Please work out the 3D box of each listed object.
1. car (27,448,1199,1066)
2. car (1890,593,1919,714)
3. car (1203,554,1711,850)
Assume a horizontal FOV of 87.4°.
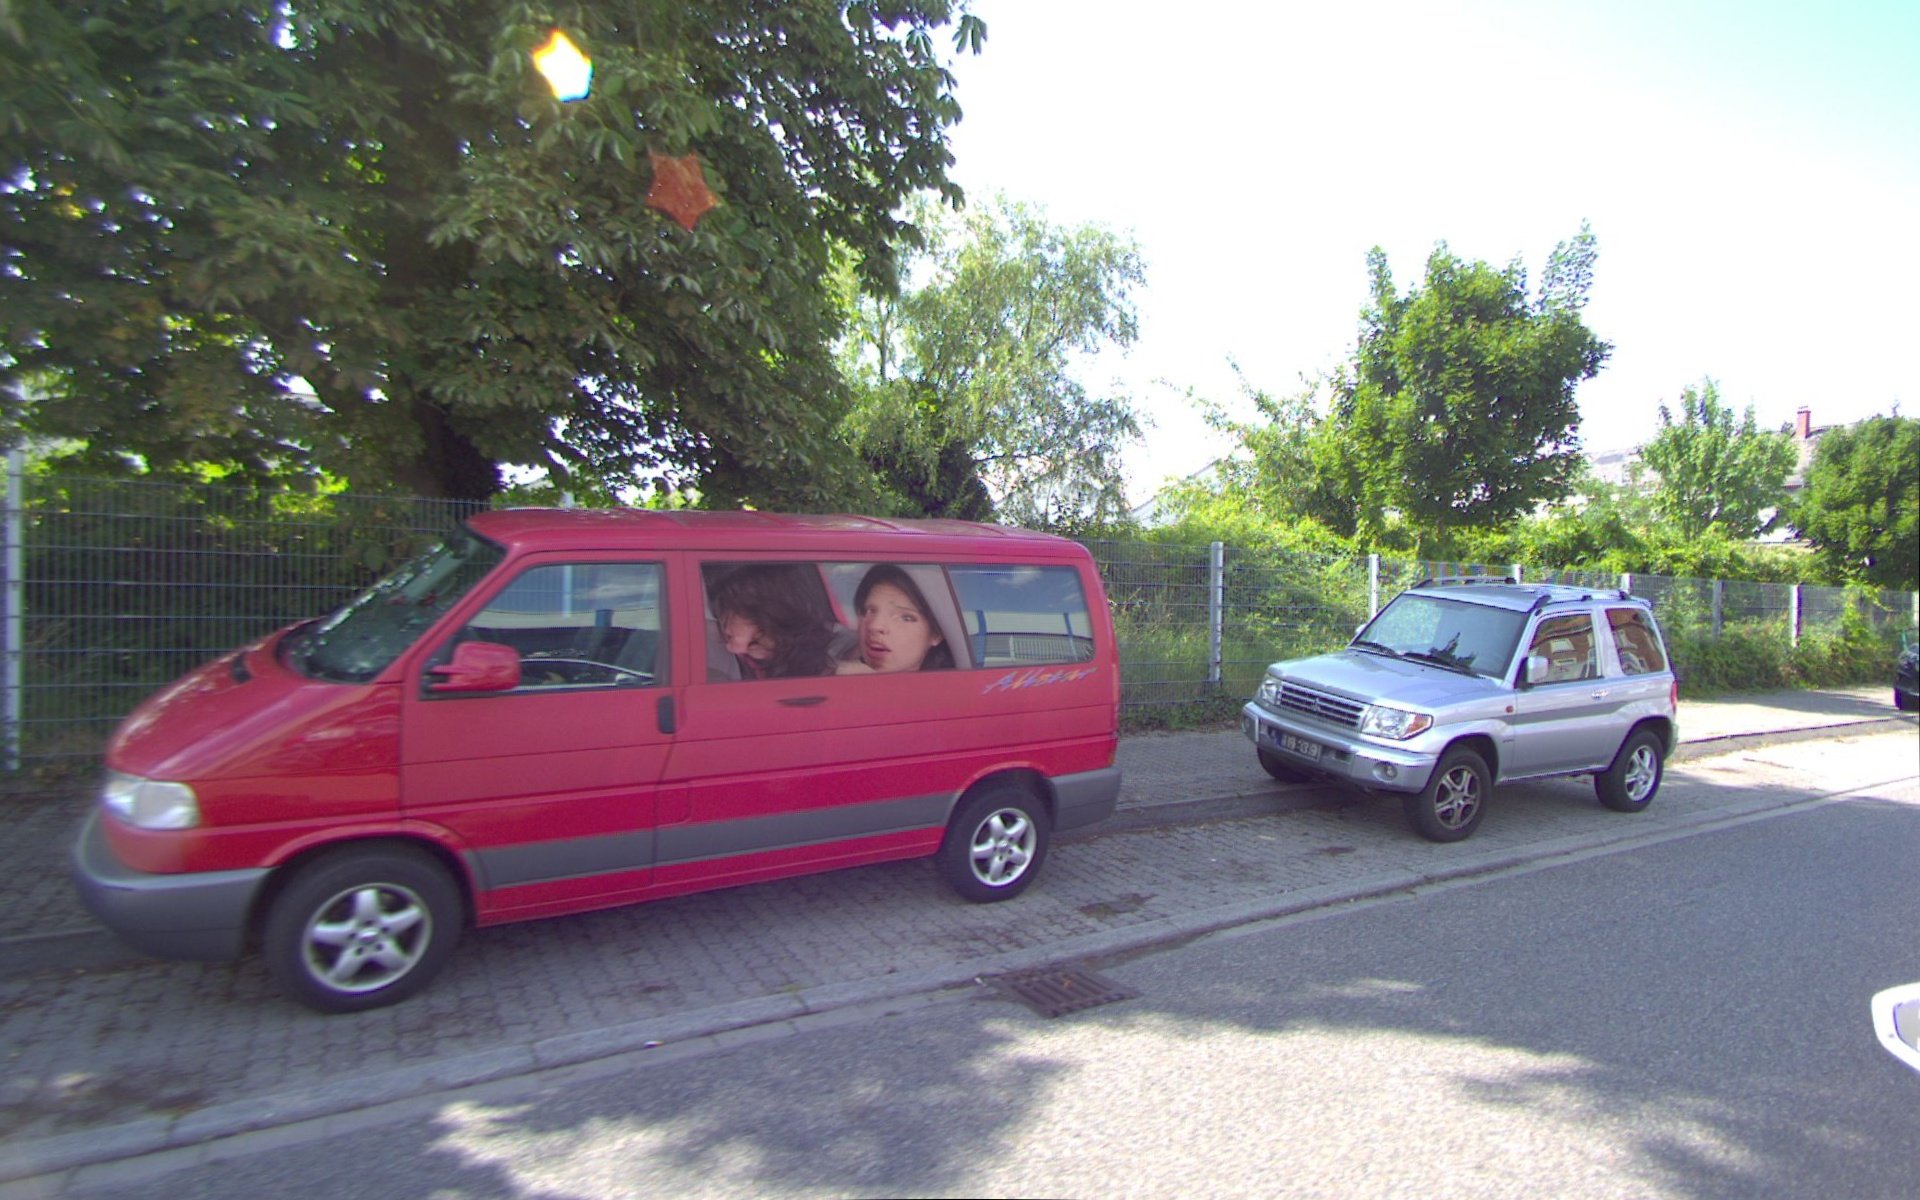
[{"bbox_3d":[-1.299,0.469,5.243,4.901,1.981,1.888,1,6,-31],"label":"car"},{"bbox_3d":[16.362,0.849,15.468,4.580,1.769,1.603,1,3,-29],"label":"car"},{"bbox_3d":[4.006,0.651,8.043,3.779,1.826,1.692,1,4,-29],"label":"car"}]
